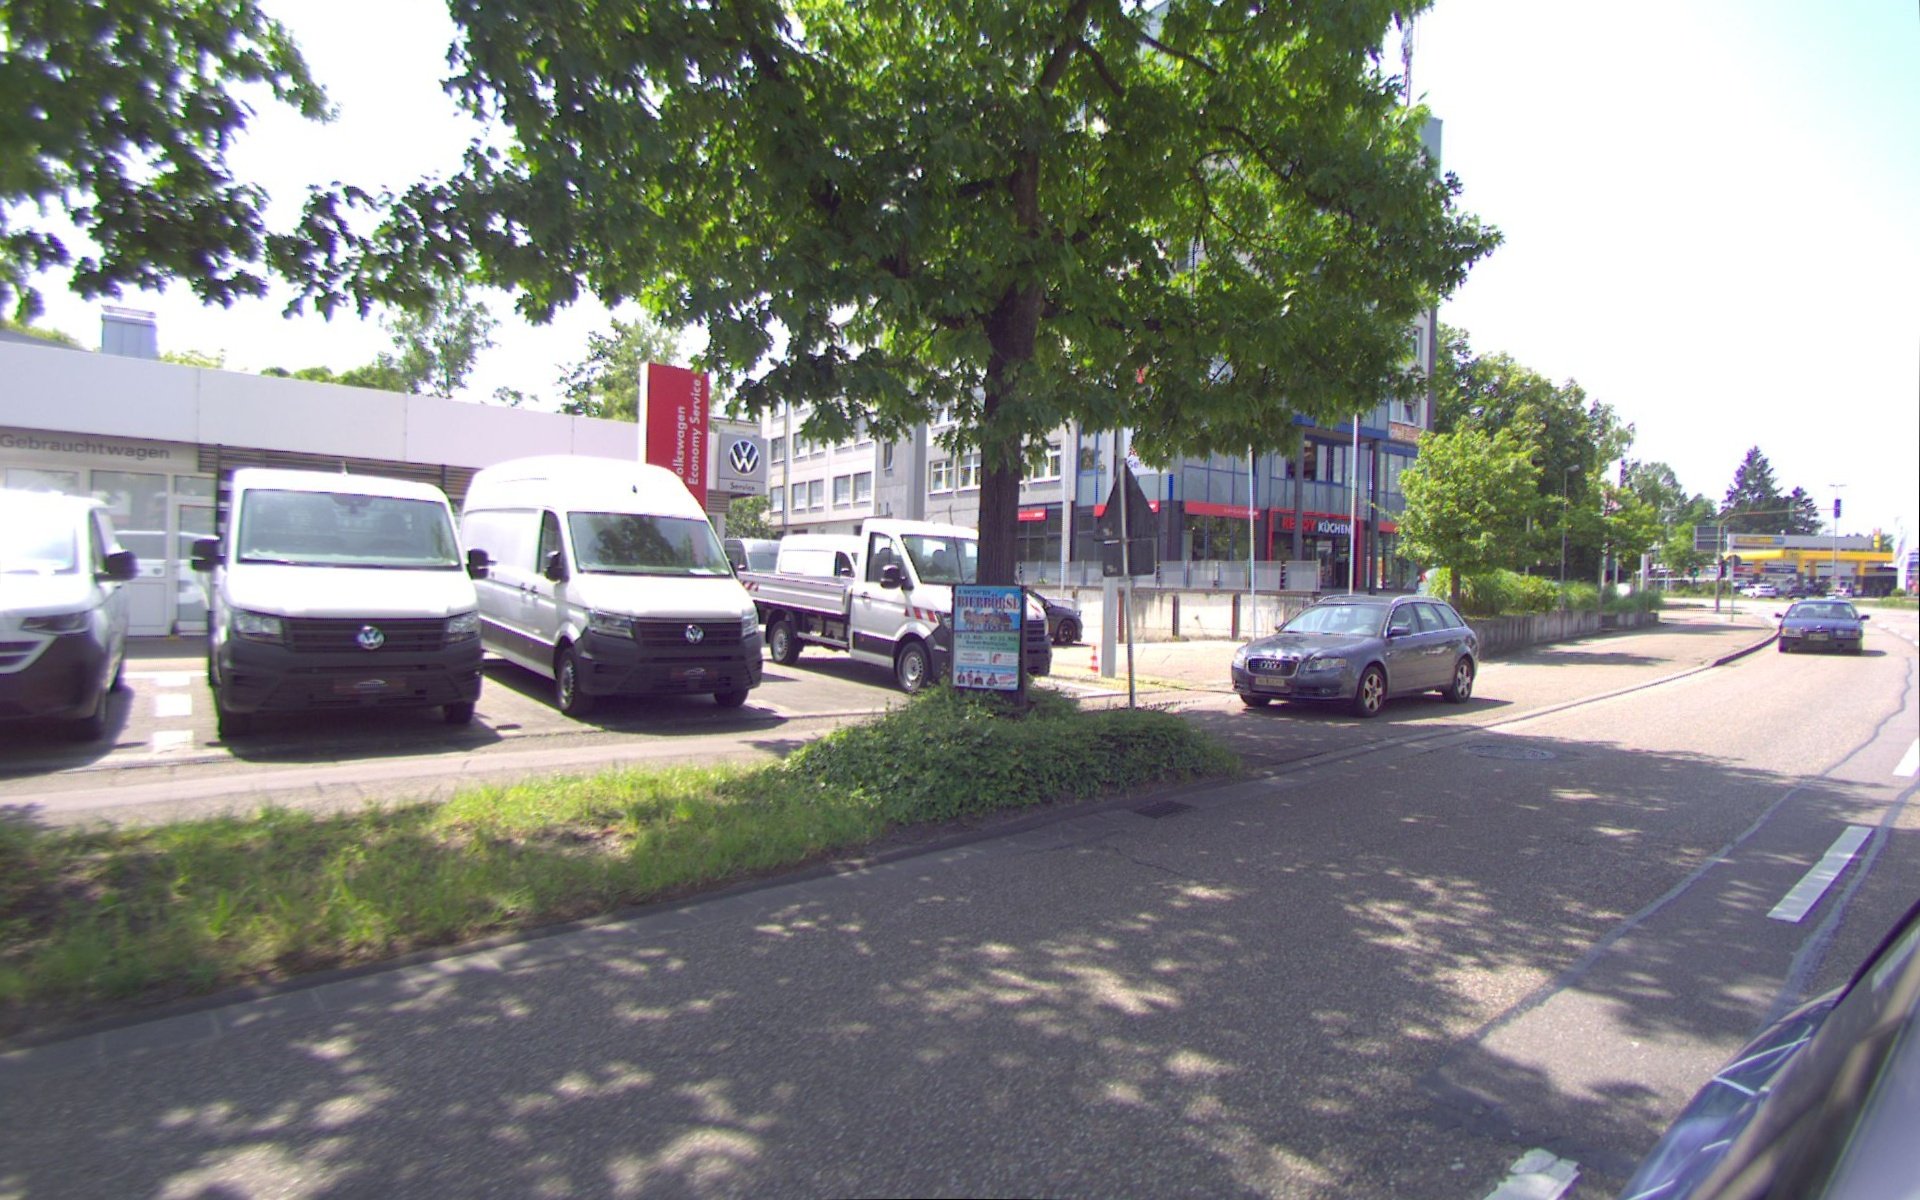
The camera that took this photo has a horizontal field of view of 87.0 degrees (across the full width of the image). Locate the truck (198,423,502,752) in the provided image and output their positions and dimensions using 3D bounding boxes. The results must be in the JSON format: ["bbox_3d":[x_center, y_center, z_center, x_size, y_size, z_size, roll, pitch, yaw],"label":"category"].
[{"bbox_3d":[-6.414,-0.216,10.322,2.072,2.466,5.265,1,2,-37],"label":"truck"}]

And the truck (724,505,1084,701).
[{"bbox_3d":[-1.175,-0.100,15.395,2.324,2.365,6.266,2,2,-37],"label":"truck"}]

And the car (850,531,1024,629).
[{"bbox_3d":[-0.823,-0.571,29.362,2.080,2.560,5.904,-1,1,-35],"label":"car"}]

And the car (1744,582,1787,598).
[{"bbox_3d":[85.596,-1.071,107.608,1.796,1.590,4.535,-1,0,15],"label":"car"}]

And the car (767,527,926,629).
[{"bbox_3d":[-3.268,-0.606,28.148,1.999,2.568,5.297,-1,1,-37],"label":"car"}]

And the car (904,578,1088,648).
[{"bbox_3d":[0.911,0.250,24.692,4.235,1.527,1.837,-1,1,-34],"label":"car"}]

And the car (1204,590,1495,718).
[{"bbox_3d":[5.234,0.580,13.338,4.244,1.424,1.801,0,0,-40],"label":"car"}]

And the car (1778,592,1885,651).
[{"bbox_3d":[22.676,0.500,26.295,3.933,1.390,1.695,-1,2,-43],"label":"car"}]

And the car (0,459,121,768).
[{"bbox_3d":[-8.589,0.003,8.629,2.120,2.139,4.960,1,1,-39],"label":"car"}]

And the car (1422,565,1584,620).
[{"bbox_3d":[18.258,-0.261,34.257,4.693,1.735,1.982,0,1,27],"label":"car"}]

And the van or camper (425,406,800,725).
[{"bbox_3d":[-4.723,-0.442,12.691,2.234,2.934,6.814,1,2,-39],"label":"van or camper"}]
